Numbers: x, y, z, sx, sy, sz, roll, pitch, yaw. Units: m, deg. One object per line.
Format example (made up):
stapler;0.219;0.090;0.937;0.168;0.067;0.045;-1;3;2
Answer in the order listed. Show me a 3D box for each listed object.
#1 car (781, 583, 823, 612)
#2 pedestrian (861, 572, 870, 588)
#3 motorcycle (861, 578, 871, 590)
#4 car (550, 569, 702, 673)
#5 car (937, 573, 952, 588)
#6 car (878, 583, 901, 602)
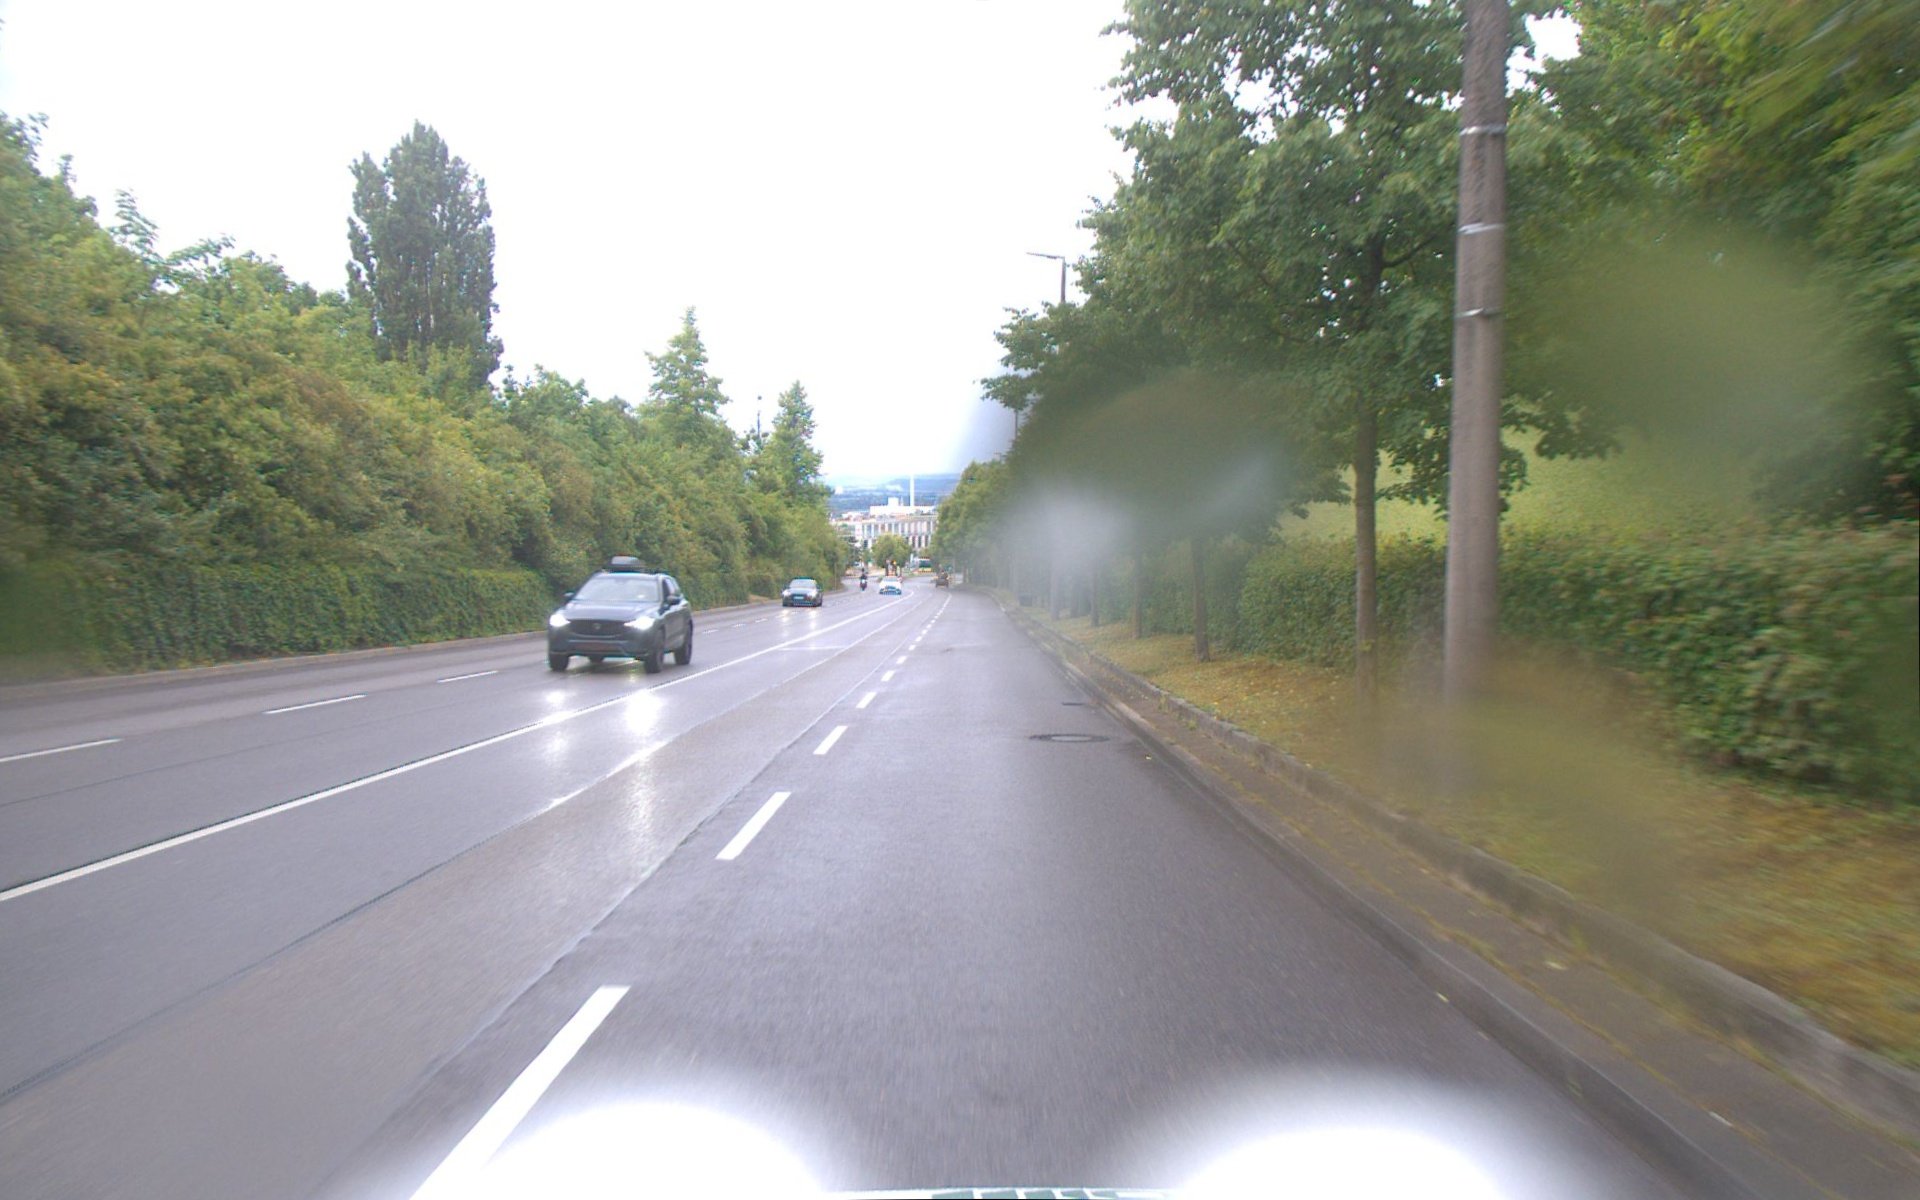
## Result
car;-8.349;-0.155;87.576;1.723;1.405;4.838;2;1;0
pedestrian;-9.201;-1.924;161.522;0.788;1.568;1.111;1;0;0
motorcycle;-9.203;-1.573;161.501;0.788;1.151;2.231;1;1;0
car;-5.868;0.327;29.582;1.775;1.686;4.595;1;0;0
car;-1.988;-2.482;211.043;1.811;1.731;3.792;2;-1;-1
car;-5.933;-0.654;140.255;1.679;1.531;4.517;2;1;0
